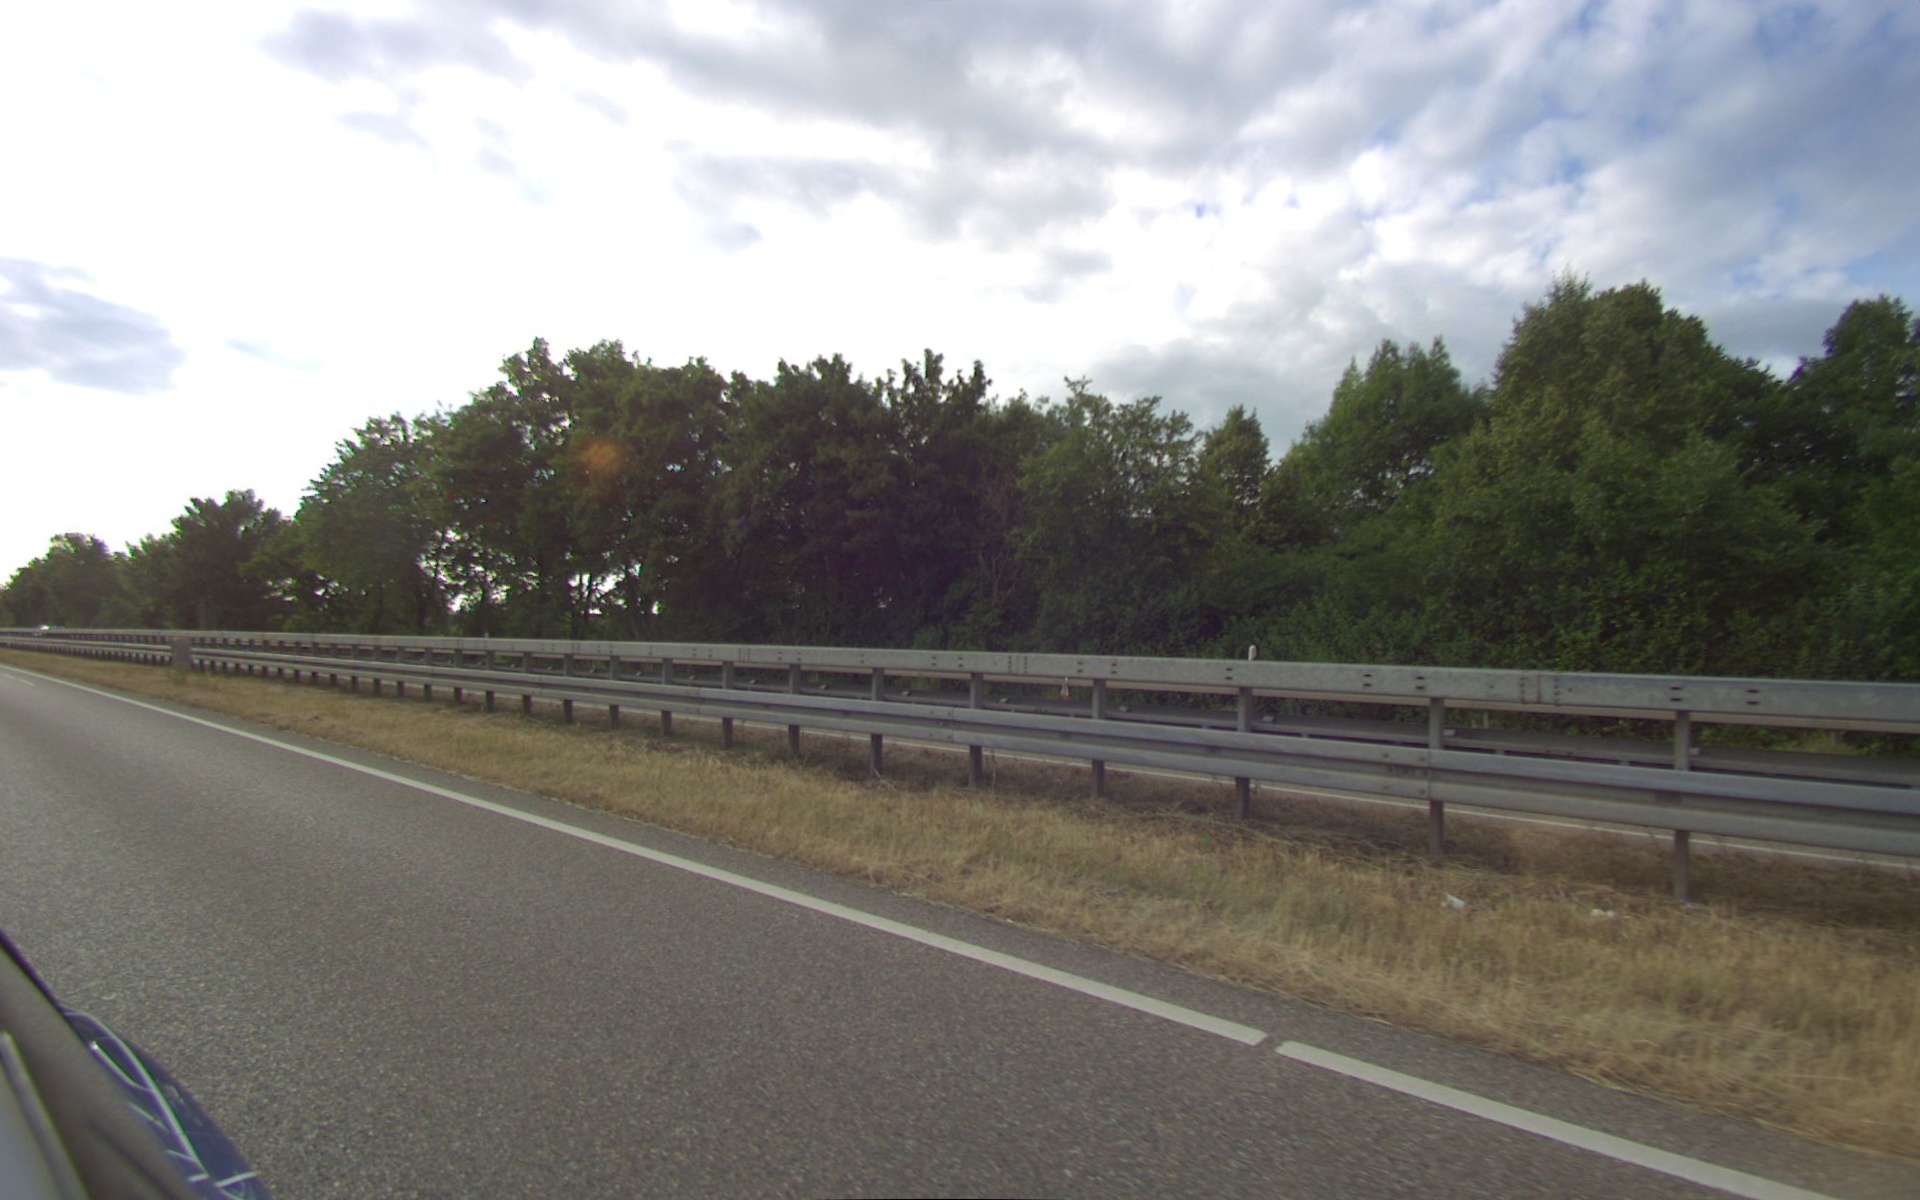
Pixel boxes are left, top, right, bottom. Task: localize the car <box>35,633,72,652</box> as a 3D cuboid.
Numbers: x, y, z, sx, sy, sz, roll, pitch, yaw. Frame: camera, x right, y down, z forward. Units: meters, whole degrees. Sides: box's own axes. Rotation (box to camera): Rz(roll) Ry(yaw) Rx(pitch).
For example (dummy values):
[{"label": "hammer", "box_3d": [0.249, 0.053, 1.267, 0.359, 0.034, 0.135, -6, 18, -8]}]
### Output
[{"label": "car", "box_3d": [-78.286, 3.638, 87.382, 4.585, 1.556, 1.805, -1, -3, 41]}]
